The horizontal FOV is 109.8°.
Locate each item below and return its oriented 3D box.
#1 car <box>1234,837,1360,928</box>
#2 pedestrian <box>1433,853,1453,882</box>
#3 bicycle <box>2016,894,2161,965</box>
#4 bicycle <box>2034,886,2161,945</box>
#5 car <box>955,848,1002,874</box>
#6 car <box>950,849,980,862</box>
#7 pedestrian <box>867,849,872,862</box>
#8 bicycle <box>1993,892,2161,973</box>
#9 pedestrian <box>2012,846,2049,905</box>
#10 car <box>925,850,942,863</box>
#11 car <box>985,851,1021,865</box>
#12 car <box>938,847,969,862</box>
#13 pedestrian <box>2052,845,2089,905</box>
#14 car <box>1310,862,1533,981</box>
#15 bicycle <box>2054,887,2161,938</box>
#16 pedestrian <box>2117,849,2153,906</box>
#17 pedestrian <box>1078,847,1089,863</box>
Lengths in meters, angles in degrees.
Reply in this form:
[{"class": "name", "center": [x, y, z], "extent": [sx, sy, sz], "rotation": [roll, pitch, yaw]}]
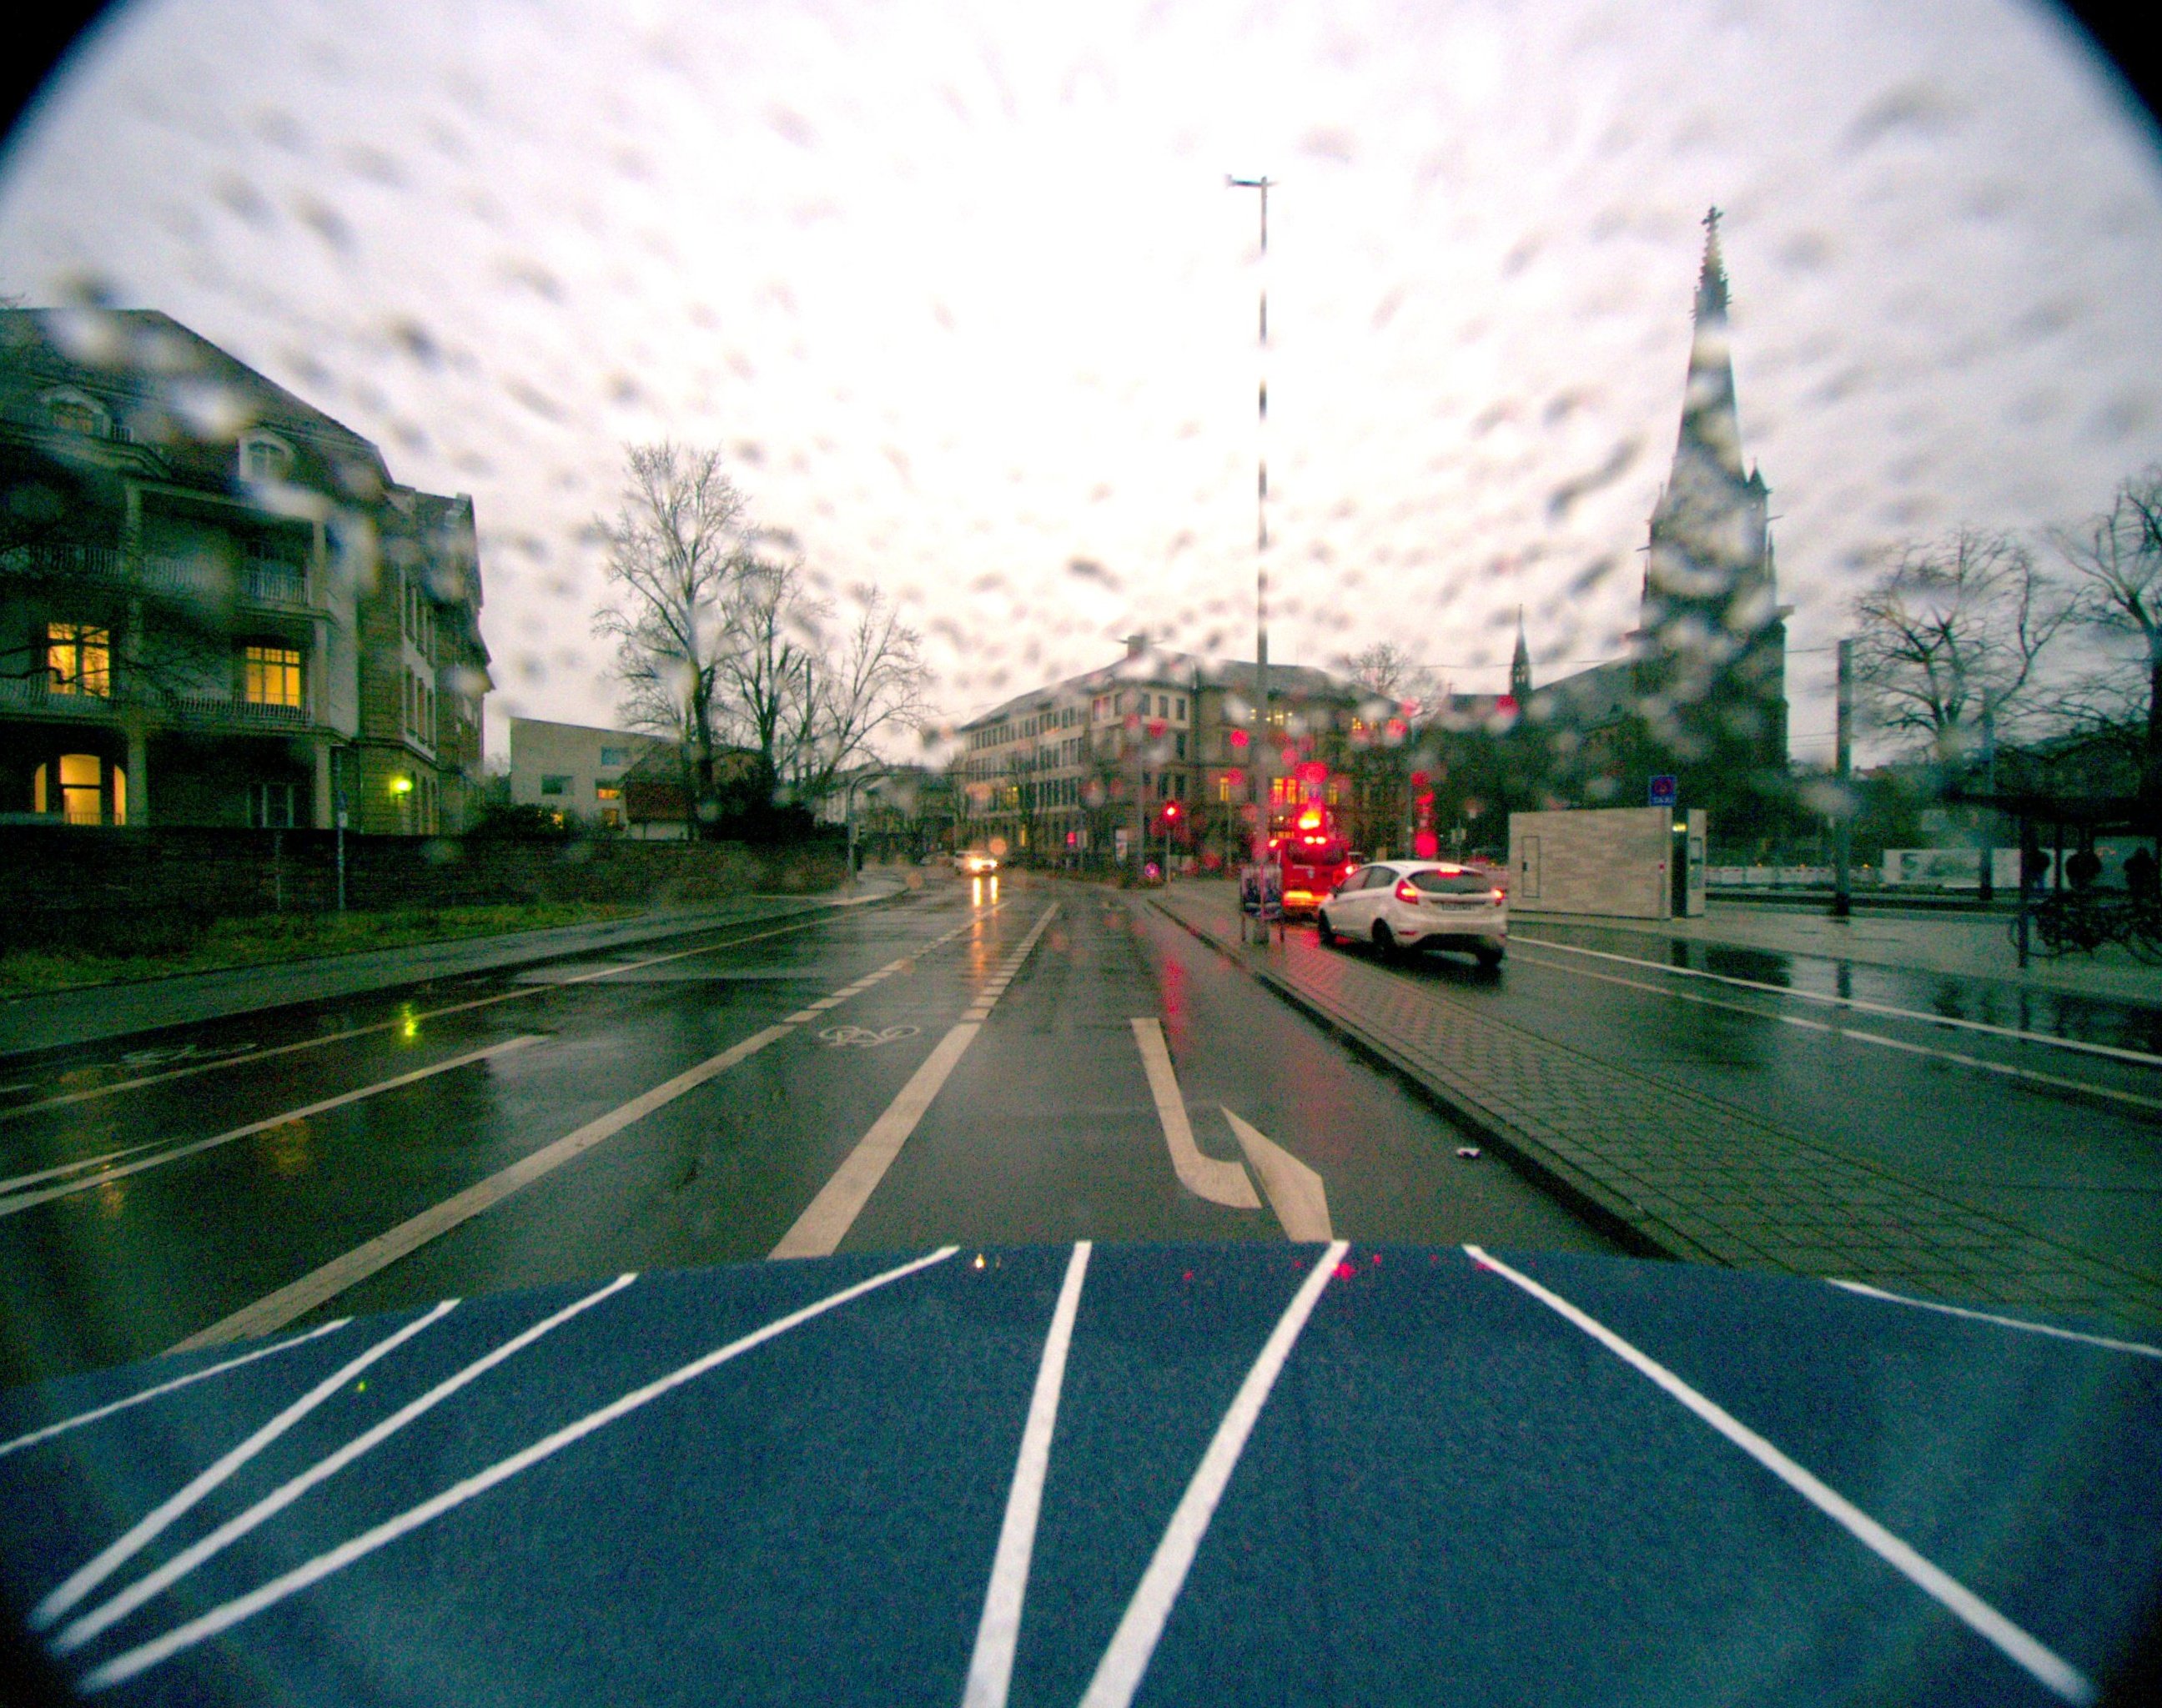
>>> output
[{"class": "car", "center": [5.466, 0.657, 19.880], "extent": [1.929, 2.058, 4.643], "rotation": [1, 0, 0]}, {"class": "pedestrian", "center": [23.122, 0.840, 48.545], "extent": [0.675, 1.806, 0.895], "rotation": [0, 1, -38]}, {"class": "bicycle", "center": [16.614, 1.211, 12.218], "extent": [0.475, 0.980, 1.921], "rotation": [-2, 2, -30]}, {"class": "bicycle", "center": [19.688, 1.167, 14.430], "extent": [0.475, 0.980, 1.921], "rotation": [-2, 2, -30]}, {"class": "car", "center": [-8.691, 0.567, 63.989], "extent": [2.003, 2.002, 4.879], "rotation": [-3, 1, -32]}, {"class": "car", "center": [-15.100, 0.206, 99.406], "extent": [1.797, 1.541, 4.007], "rotation": [-2, 1, 28]}, {"class": "pedestrian", "center": [-33.868, 0.239, 121.677], "extent": [0.548, 2.002, 0.473], "rotation": [0, 1, -34]}, {"class": "bicycle", "center": [15.495, 1.178, 11.613], "extent": [0.475, 1.064, 1.921], "rotation": [-2, 2, -30]}, {"class": "pedestrian", "center": [29.593, 0.660, 23.697], "extent": [0.828, 1.785, 0.668], "rotation": [-3, 2, -42]}, {"class": "car", "center": [-20.745, 0.378, 106.846], "extent": [2.000, 1.660, 3.997], "rotation": [-2, 1, -7]}, {"class": "car", "center": [-9.288, 0.486, 90.536], "extent": [1.797, 1.541, 4.007], "rotation": [-1, 1, 45]}, {"class": "car", "center": [-17.005, 0.082, 101.471], "extent": [2.043, 1.889, 4.007], "rotation": [-2, 1, 28]}, {"class": "pedestrian", "center": [30.231, 0.641, 23.218], "extent": [0.673, 1.785, 0.626], "rotation": [-3, 2, -41]}, {"class": "car", "center": [5.059, 0.914, 11.900], "extent": [1.744, 1.440, 3.713], "rotation": [2, 1, -1]}, {"class": "bicycle", "center": [20.844, 1.159, 15.019], "extent": [0.475, 0.905, 1.921], "rotation": [-2, 2, -30]}, {"class": "pedestrian", "center": [31.044, 0.690, 22.389], "extent": [0.541, 1.642, 0.562], "rotation": [-3, 2, -41]}, {"class": "pedestrian", "center": [0.287, 0.092, 82.384], "extent": [0.829, 1.714, 0.926], "rotation": [0, 0, -37]}]
